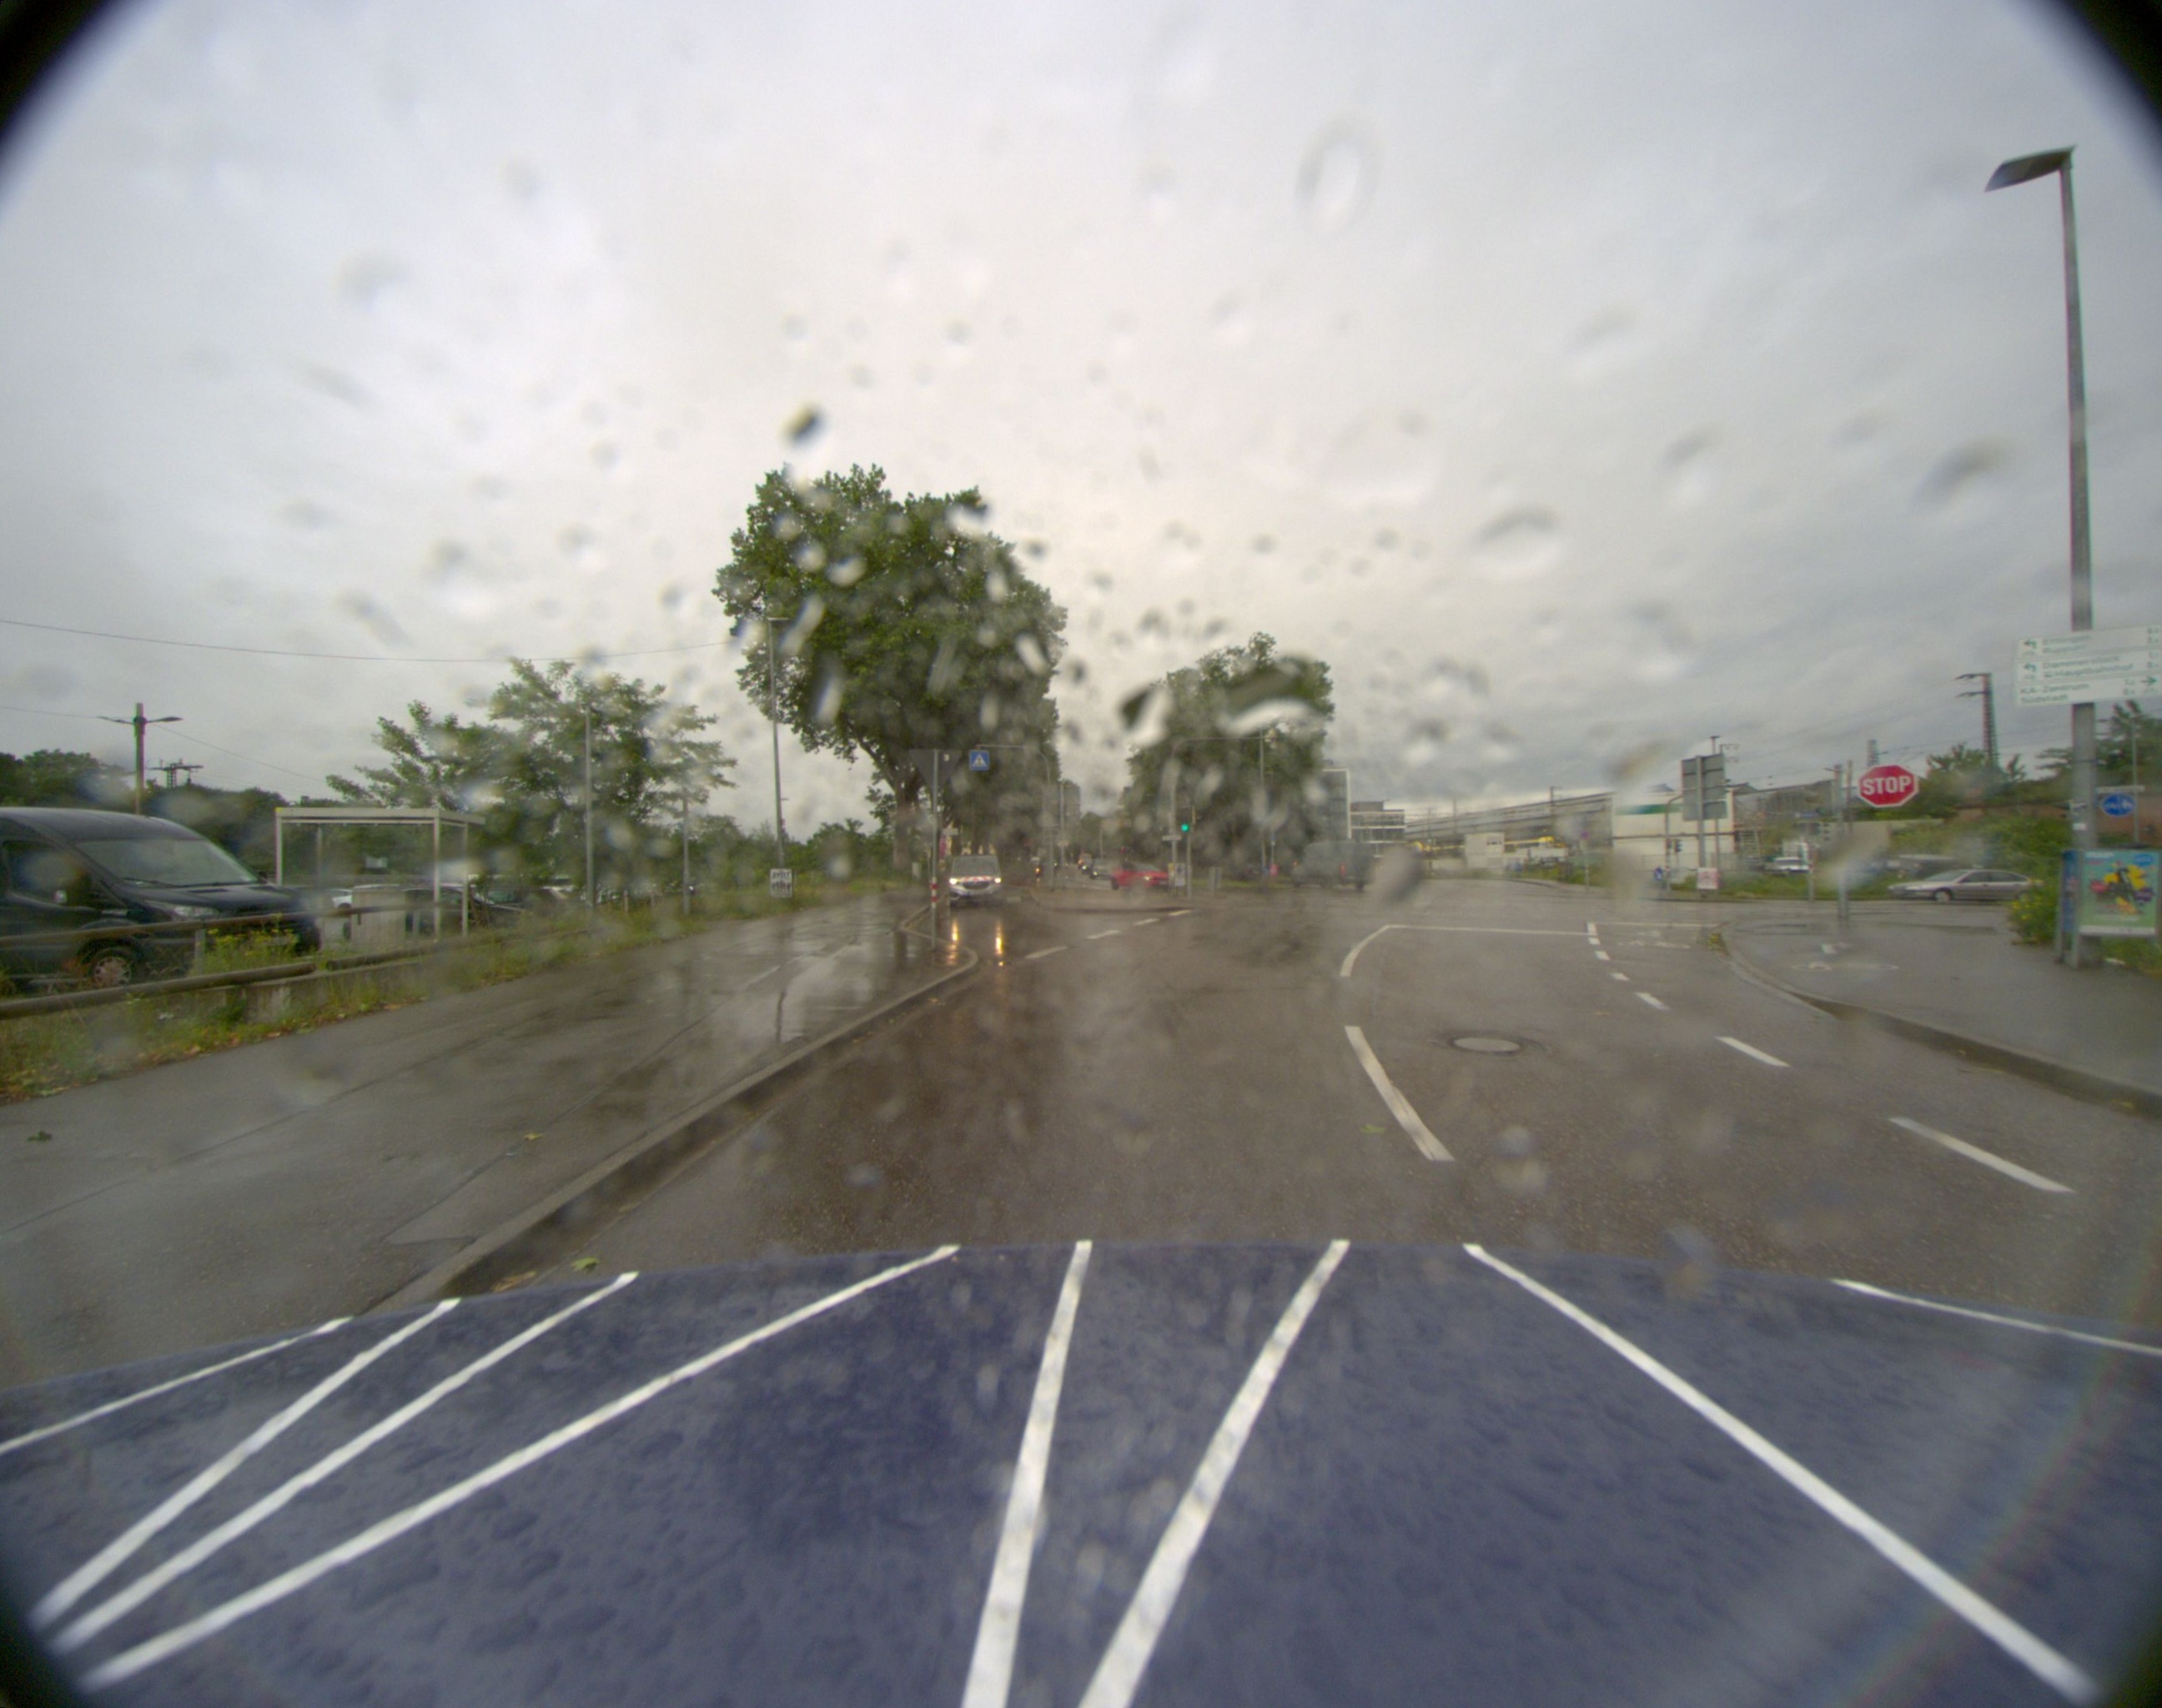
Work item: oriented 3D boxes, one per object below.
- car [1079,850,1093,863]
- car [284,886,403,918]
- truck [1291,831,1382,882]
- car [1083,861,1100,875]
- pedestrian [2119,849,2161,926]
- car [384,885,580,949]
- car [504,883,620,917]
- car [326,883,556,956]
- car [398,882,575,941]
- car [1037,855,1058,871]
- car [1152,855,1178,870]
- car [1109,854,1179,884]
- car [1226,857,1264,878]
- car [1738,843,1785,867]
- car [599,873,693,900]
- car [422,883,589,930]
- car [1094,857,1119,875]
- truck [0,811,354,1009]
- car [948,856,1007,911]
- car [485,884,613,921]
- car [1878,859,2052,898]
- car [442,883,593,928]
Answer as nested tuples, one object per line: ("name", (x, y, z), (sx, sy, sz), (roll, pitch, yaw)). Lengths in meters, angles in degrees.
("car", (0.676, 0.325, 104.913), (1.853, 1.593, 4.500), (-2, 0, 0))
("car", (-35.688, 2.300, 36.835), (3.996, 1.429, 1.818), (-1, 0, 1))
("truck", (14.136, 0.143, 42.664), (2.091, 2.604, 6.974), (-1, 0, -6))
("car", (1.017, 1.374, 75.395), (1.644, 1.346, 3.775), (-1, 0, -1))
("pedestrian", (27.138, 0.818, 18.919), (1.325, 1.897, 0.919), (-1, 0, -1))
("car", (-16.514, 1.681, 21.241), (4.006, 1.494, 1.872), (-1, 0, -28))
("car", (-25.779, 2.253, 37.949), (4.553, 1.421, 1.872), (-1, 0, -27))
("car", (-15.407, 1.514, 18.591), (4.006, 1.481, 1.701), (-1, 0, -28))
("car", (-18.163, 1.710, 23.481), (4.006, 1.514, 1.872), (-1, 0, -28))
("car", (-3.033, 0.838, 68.739), (1.743, 1.437, 4.000), (0, -1, 0))
("car", (9.483, 0.968, 86.251), (2.000, 1.632, 3.997), (-1, 0, -8))
("car", (3.090, 0.719, 38.087), (1.747, 1.373, 3.992), (-2, 0, -25))
("car", (11.749, 0.992, 54.666), (1.649, 1.443, 3.530), (0, -3, -7))
("car", (62.371, 0.051, 69.752), (1.995, 2.002, 4.006), (-1, 1, 23))
("car", (-25.284, 1.868, 44.321), (4.399, 1.421, 1.873), (-1, 0, -17))
("car", (-21.065, 1.883, 28.100), (4.653, 1.475, 1.872), (-1, 0, -27))
("car", (2.047, 0.965, 60.830), (1.744, 1.373, 4.000), (0, -1, -2))
("truck", (-13.485, 0.722, 10.075), (5.345, 2.309, 2.073), (-2, 0, -5))
("car", (-3.553, 0.964, 26.618), (1.839, 1.714, 4.170), (-2, 0, -6))
("car", (-24.819, 2.226, 35.652), (4.552, 1.457, 2.000), (-1, 0, -23))
("car", (35.656, 0.961, 30.773), (4.423, 1.477, 1.734), (0, 1, 12))
("car", (-22.264, 1.994, 30.274), (4.553, 1.550, 1.872), (-1, 0, -27))
